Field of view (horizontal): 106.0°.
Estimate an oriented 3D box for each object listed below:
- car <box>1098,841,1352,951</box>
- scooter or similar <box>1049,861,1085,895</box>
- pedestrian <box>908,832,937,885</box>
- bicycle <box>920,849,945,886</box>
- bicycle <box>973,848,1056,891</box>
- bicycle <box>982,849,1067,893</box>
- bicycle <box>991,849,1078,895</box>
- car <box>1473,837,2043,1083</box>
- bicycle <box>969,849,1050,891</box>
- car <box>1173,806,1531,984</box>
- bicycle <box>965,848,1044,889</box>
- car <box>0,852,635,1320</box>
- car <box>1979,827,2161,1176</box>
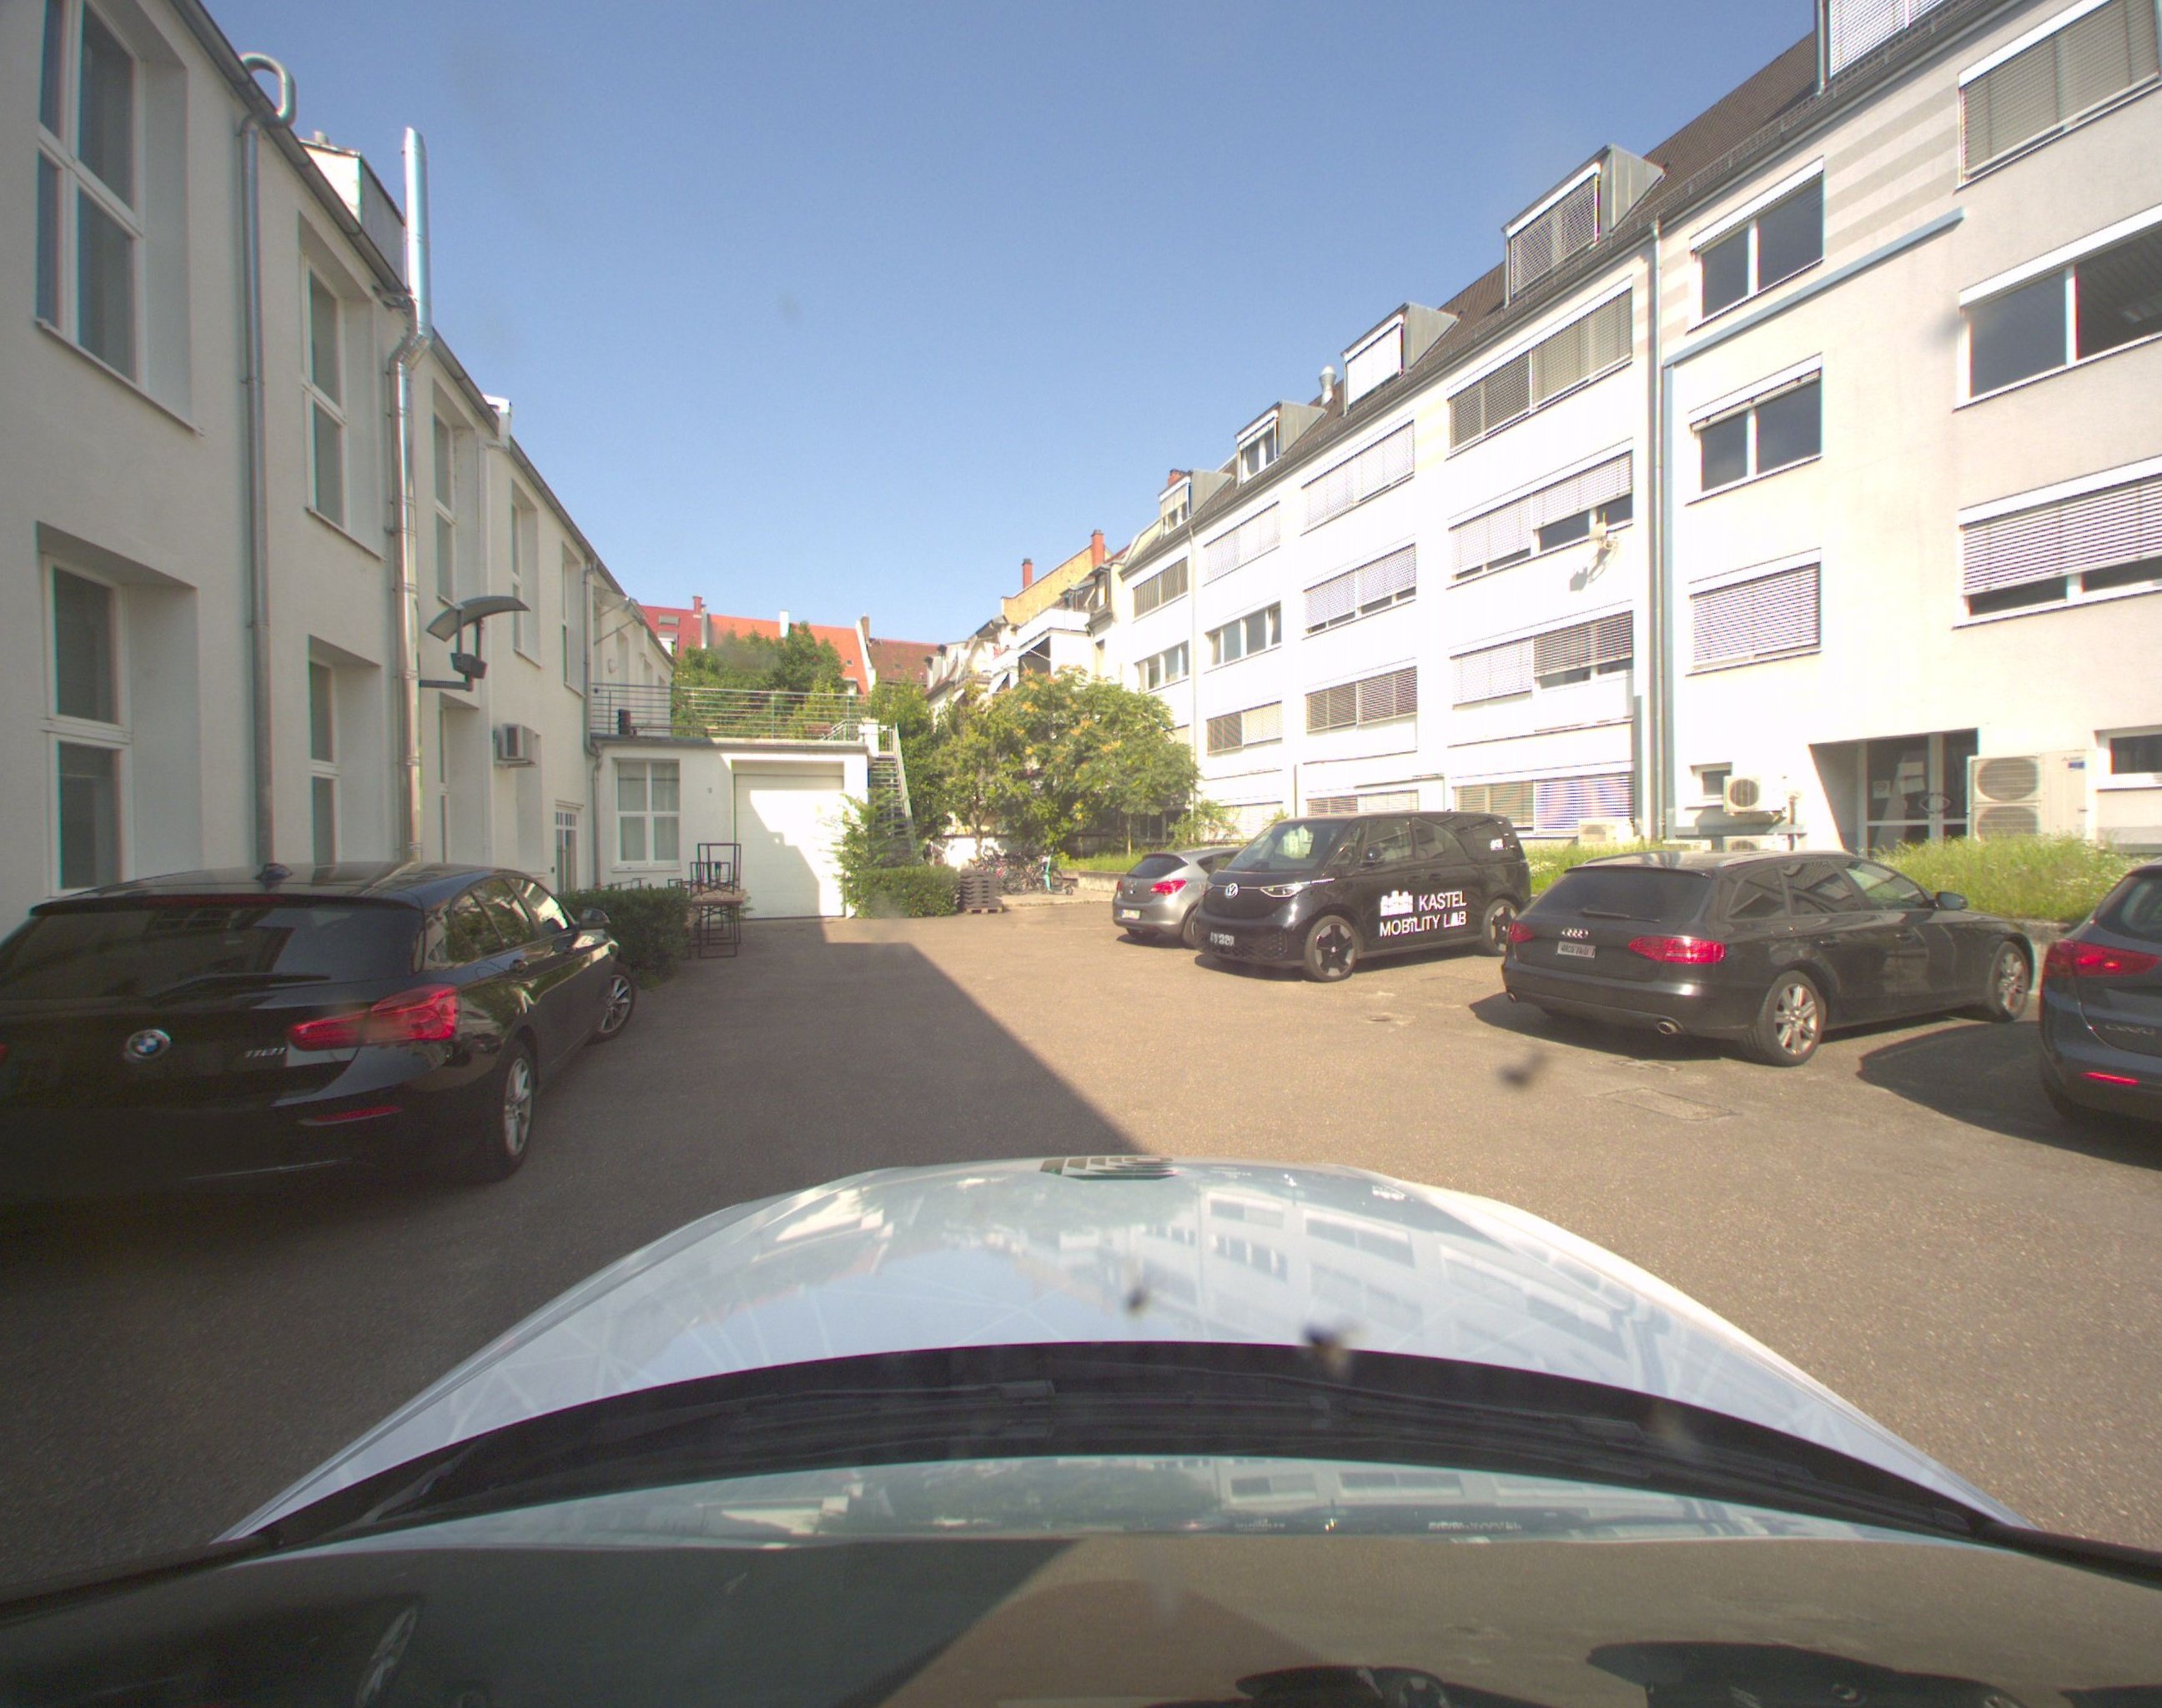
[{"bbox_3d":[2.359,0.559,13.042,3.923,1.466,1.646,-2,1,-33],"label":"car"},{"bbox_3d":[-0.397,0.655,22.814,0.986,0.924,0.362,0,0,33],"label":"scooter or similar"},{"bbox_3d":[-5.418,0.147,27.884,0.855,1.771,0.611,0,0,-1],"label":"pedestrian"},{"bbox_3d":[-5.069,0.444,27.871,0.487,1.143,1.993,-1,2,-1],"label":"bicycle"},{"bbox_3d":[-1.987,0.450,24.350,2.418,1.246,0.523,0,0,-20],"label":"bicycle"},{"bbox_3d":[-1.619,0.478,23.591,2.418,1.246,0.523,0,0,-20],"label":"bicycle"},{"bbox_3d":[-1.296,0.493,22.987,2.418,1.246,0.523,0,0,-20],"label":"bicycle"},{"bbox_3d":[5.431,0.619,6.536,4.248,1.437,1.679,-1,1,-21],"label":"car"},{"bbox_3d":[-2.187,0.461,24.948,2.418,1.246,0.523,0,0,-20],"label":"bicycle"},{"bbox_3d":[3.514,0.363,10.416,4.361,1.858,1.897,-2,1,-29],"label":"car"},{"bbox_3d":[-2.385,0.429,25.563,2.418,1.246,0.523,0,0,-20],"label":"bicycle"},{"bbox_3d":[-3.827,0.720,4.578,1.800,1.428,4.106,0,1,-22],"label":"car"},{"bbox_3d":[6.598,0.594,4.030,4.065,1.478,1.729,-2,1,-24],"label":"car"}]
